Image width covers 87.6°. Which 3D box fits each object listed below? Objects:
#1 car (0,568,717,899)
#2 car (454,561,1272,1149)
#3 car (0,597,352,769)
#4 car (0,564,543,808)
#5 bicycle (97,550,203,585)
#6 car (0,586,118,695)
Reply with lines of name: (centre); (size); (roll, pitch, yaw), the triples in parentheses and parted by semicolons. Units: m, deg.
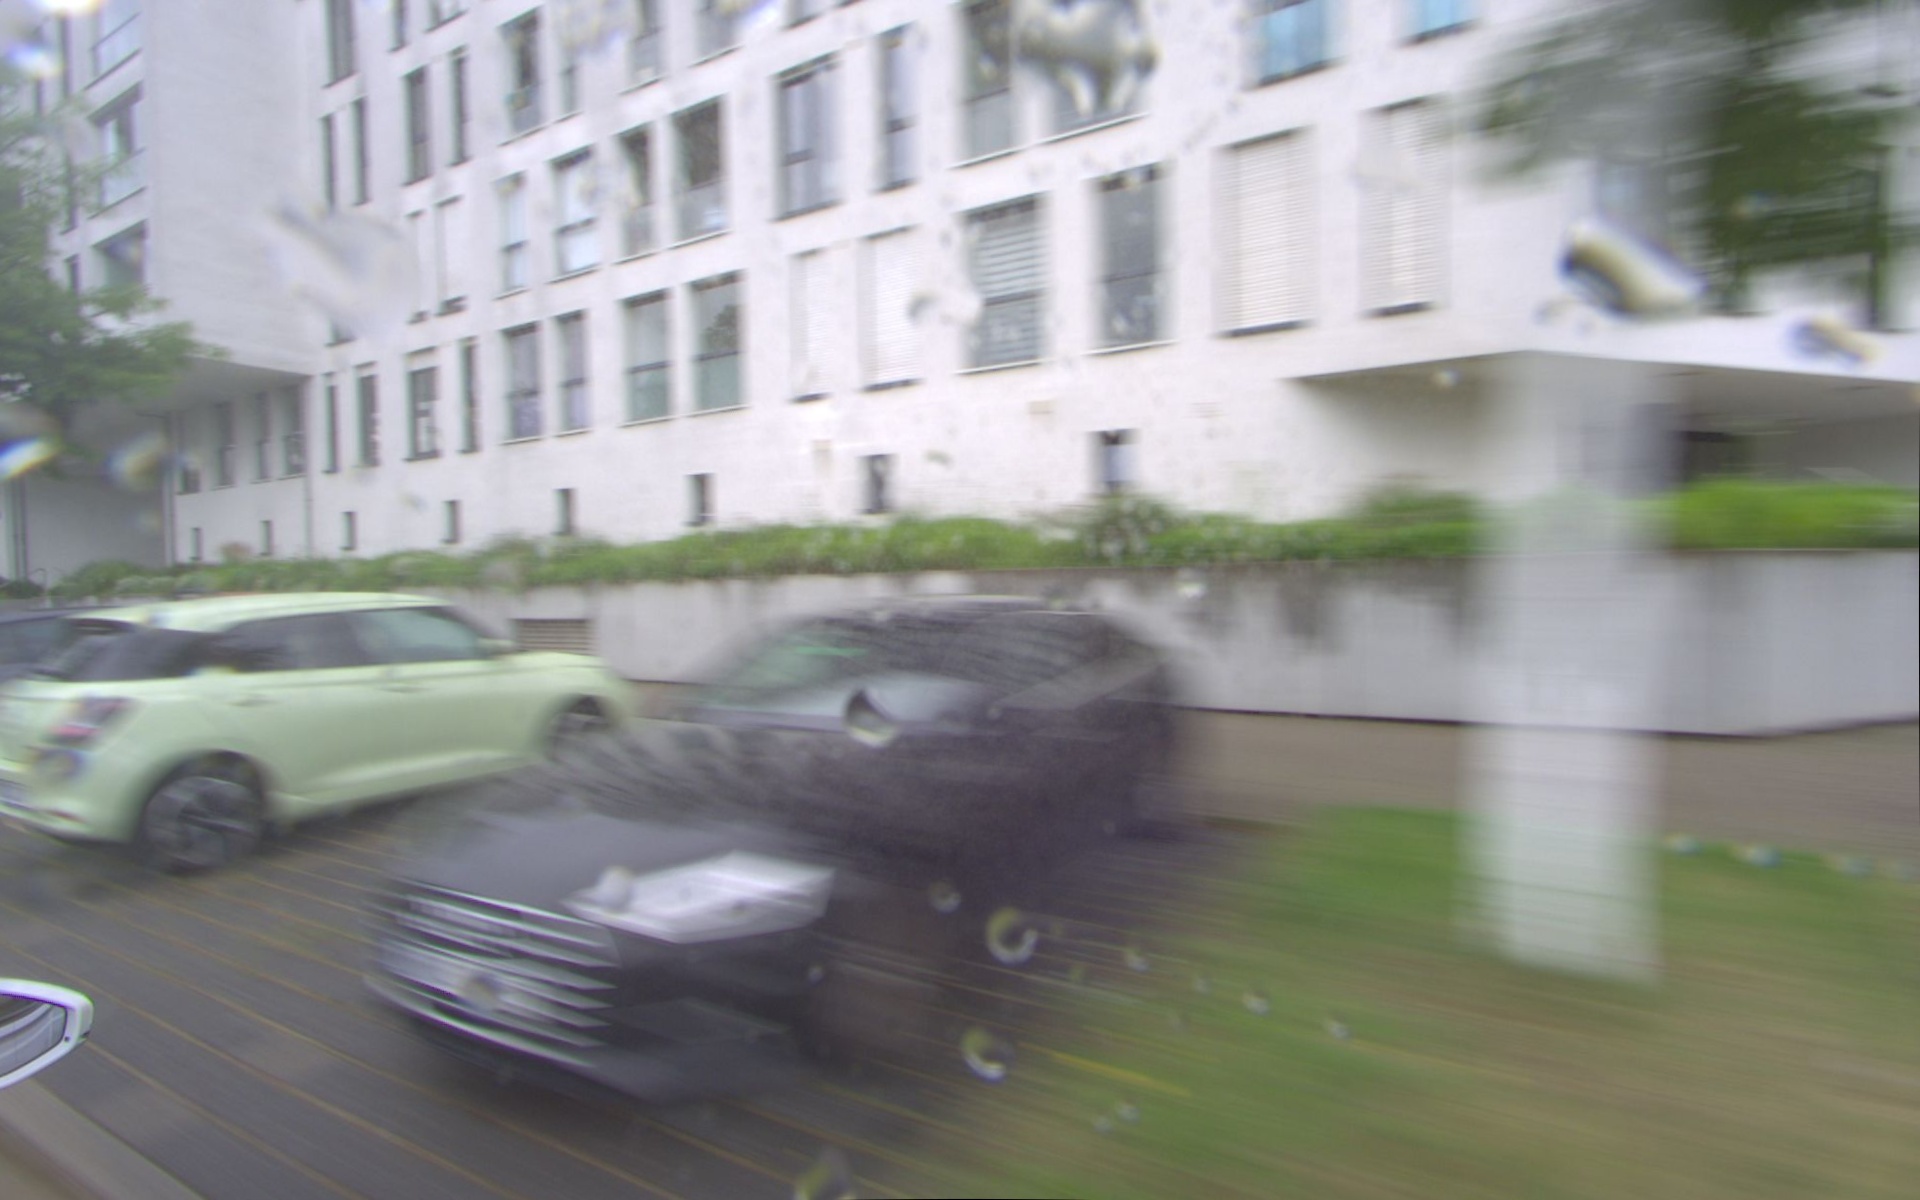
car: (-4.012, 0.603, 7.230); (1.667, 1.502, 4.476); (0, 3, 32)
car: (0.128, 0.635, 5.137); (1.799, 1.518, 4.559); (0, 3, 31)
car: (-8.479, 0.733, 9.924); (1.568, 1.493, 3.951); (0, -1, 30)
car: (-6.035, 0.538, 8.992); (1.611, 1.577, 3.976); (0, 3, 32)
bicycle: (-29.129, -1.149, 36.060); (2.935, 1.133, 0.907); (0, 0, -42)
car: (-14.616, 0.650, 13.969); (1.795, 1.471, 3.977); (-2, 2, 31)
